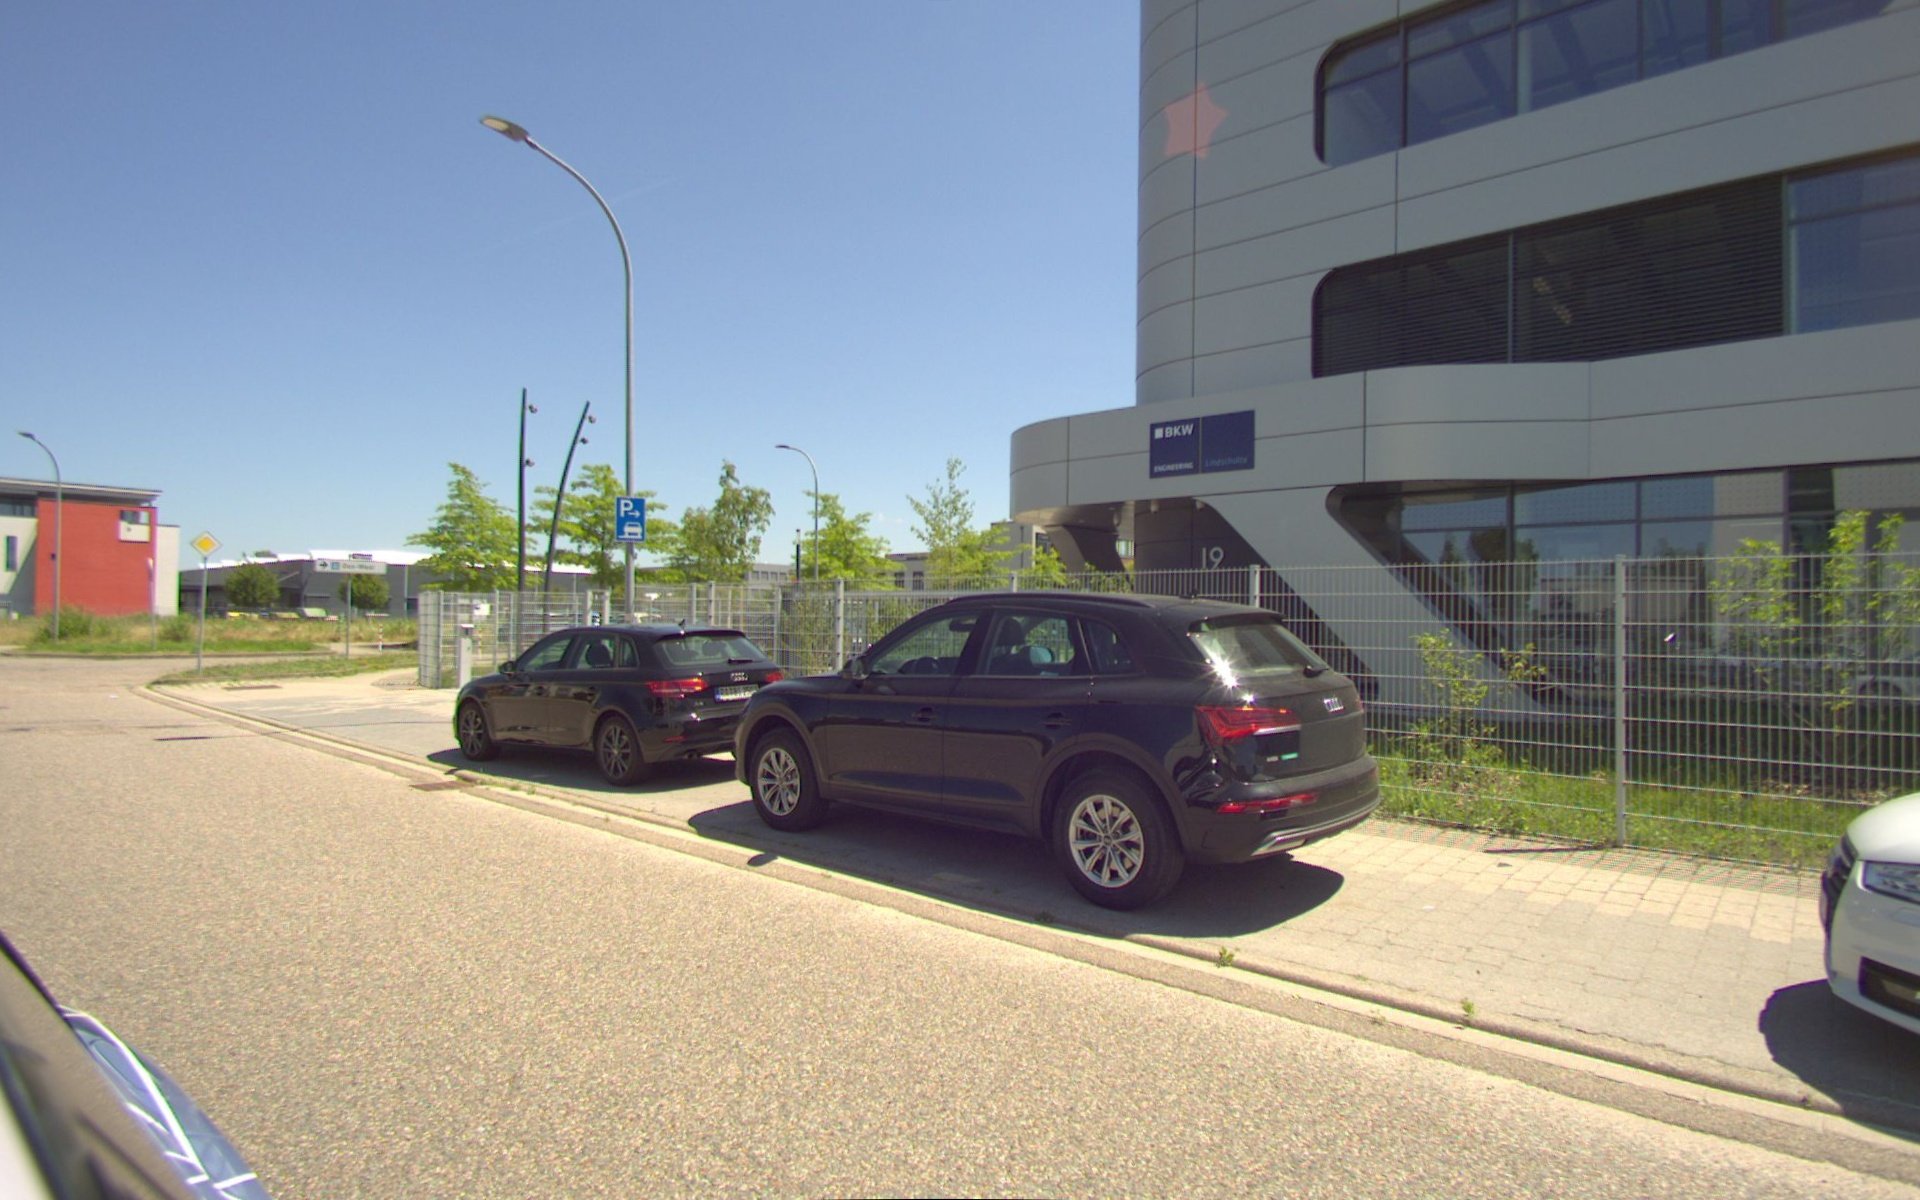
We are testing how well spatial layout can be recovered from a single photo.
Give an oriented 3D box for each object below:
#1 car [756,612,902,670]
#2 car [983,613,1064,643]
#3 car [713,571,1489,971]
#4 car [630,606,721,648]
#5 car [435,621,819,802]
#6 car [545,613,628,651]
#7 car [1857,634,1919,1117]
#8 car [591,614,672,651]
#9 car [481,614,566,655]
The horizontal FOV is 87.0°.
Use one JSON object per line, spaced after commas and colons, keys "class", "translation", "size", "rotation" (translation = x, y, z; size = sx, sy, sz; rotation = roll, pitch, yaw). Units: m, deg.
{"class": "car", "translation": [-3.708, 1.103, 28.306], "size": [4.103, 1.523, 1.752], "rotation": [-1, -2, 41]}
{"class": "car", "translation": [3.259, 1.461, 52.619], "size": [4.114, 1.487, 1.589], "rotation": [-2, -3, 41]}
{"class": "car", "translation": [0.512, 0.772, 6.535], "size": [4.850, 1.664, 1.750], "rotation": [-2, -2, 43]}
{"class": "car", "translation": [-10.632, 1.047, 37.667], "size": [3.799, 1.487, 1.588], "rotation": [-3, -3, 44]}
{"class": "car", "translation": [-3.511, 0.965, 10.313], "size": [4.181, 1.477, 1.752], "rotation": [-1, -2, 39]}
{"class": "car", "translation": [-17.627, 1.468, 47.647], "size": [4.309, 1.710, 1.931], "rotation": [0, -1, 43]}
{"class": "car", "translation": [4.862, 0.794, 2.420], "size": [3.932, 1.396, 1.682], "rotation": [-1, -2, 39]}
{"class": "car", "translation": [-16.069, 1.541, 49.461], "size": [4.309, 1.710, 1.931], "rotation": [0, -1, 43]}
{"class": "car", "translation": [-19.451, 1.480, 45.015], "size": [4.309, 1.710, 1.931], "rotation": [0, -1, 43]}
